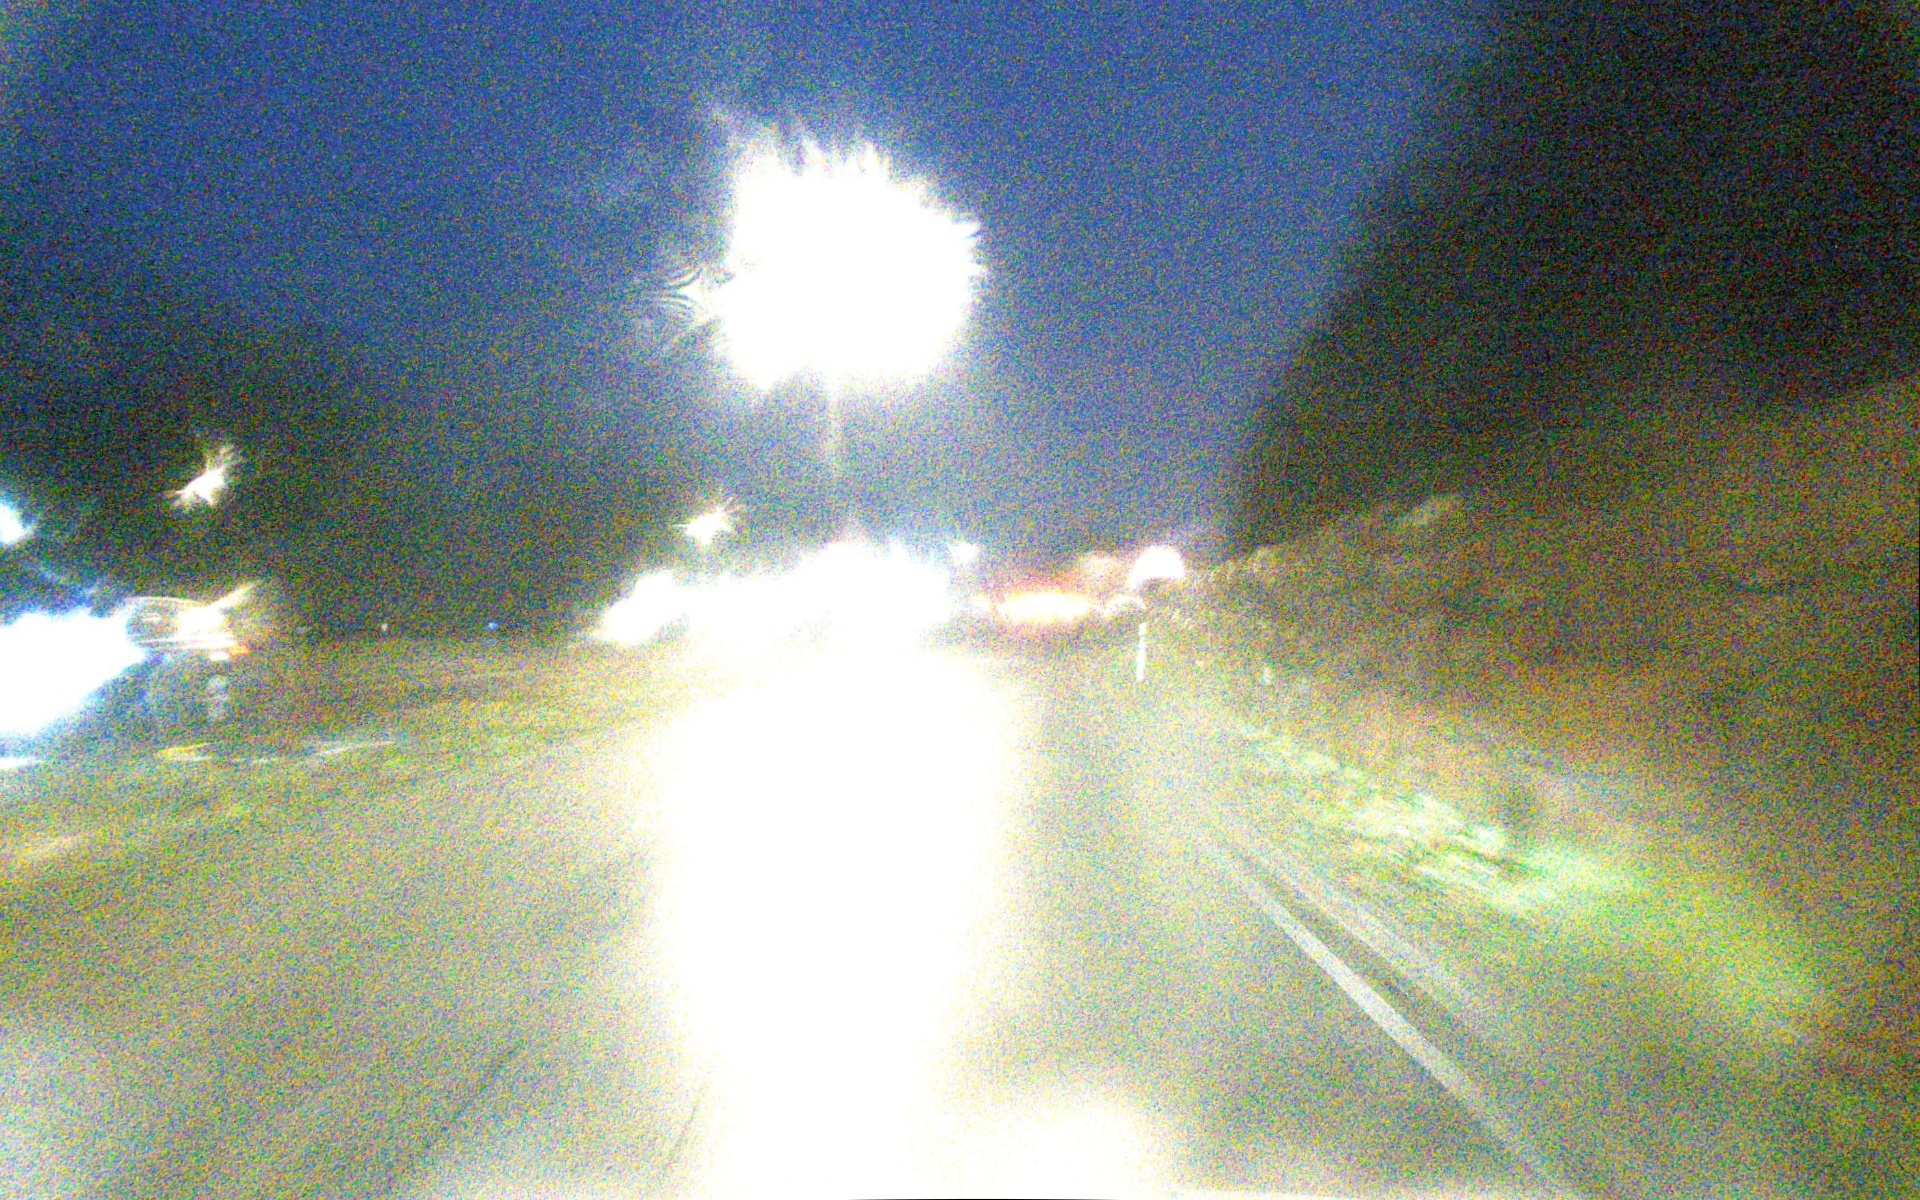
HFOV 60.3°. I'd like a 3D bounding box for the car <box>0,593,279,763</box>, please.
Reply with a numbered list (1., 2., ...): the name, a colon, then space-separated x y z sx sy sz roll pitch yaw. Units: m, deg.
1. car: -9.113 0.774 17.548 1.672 1.561 4.601 0 -1 3
